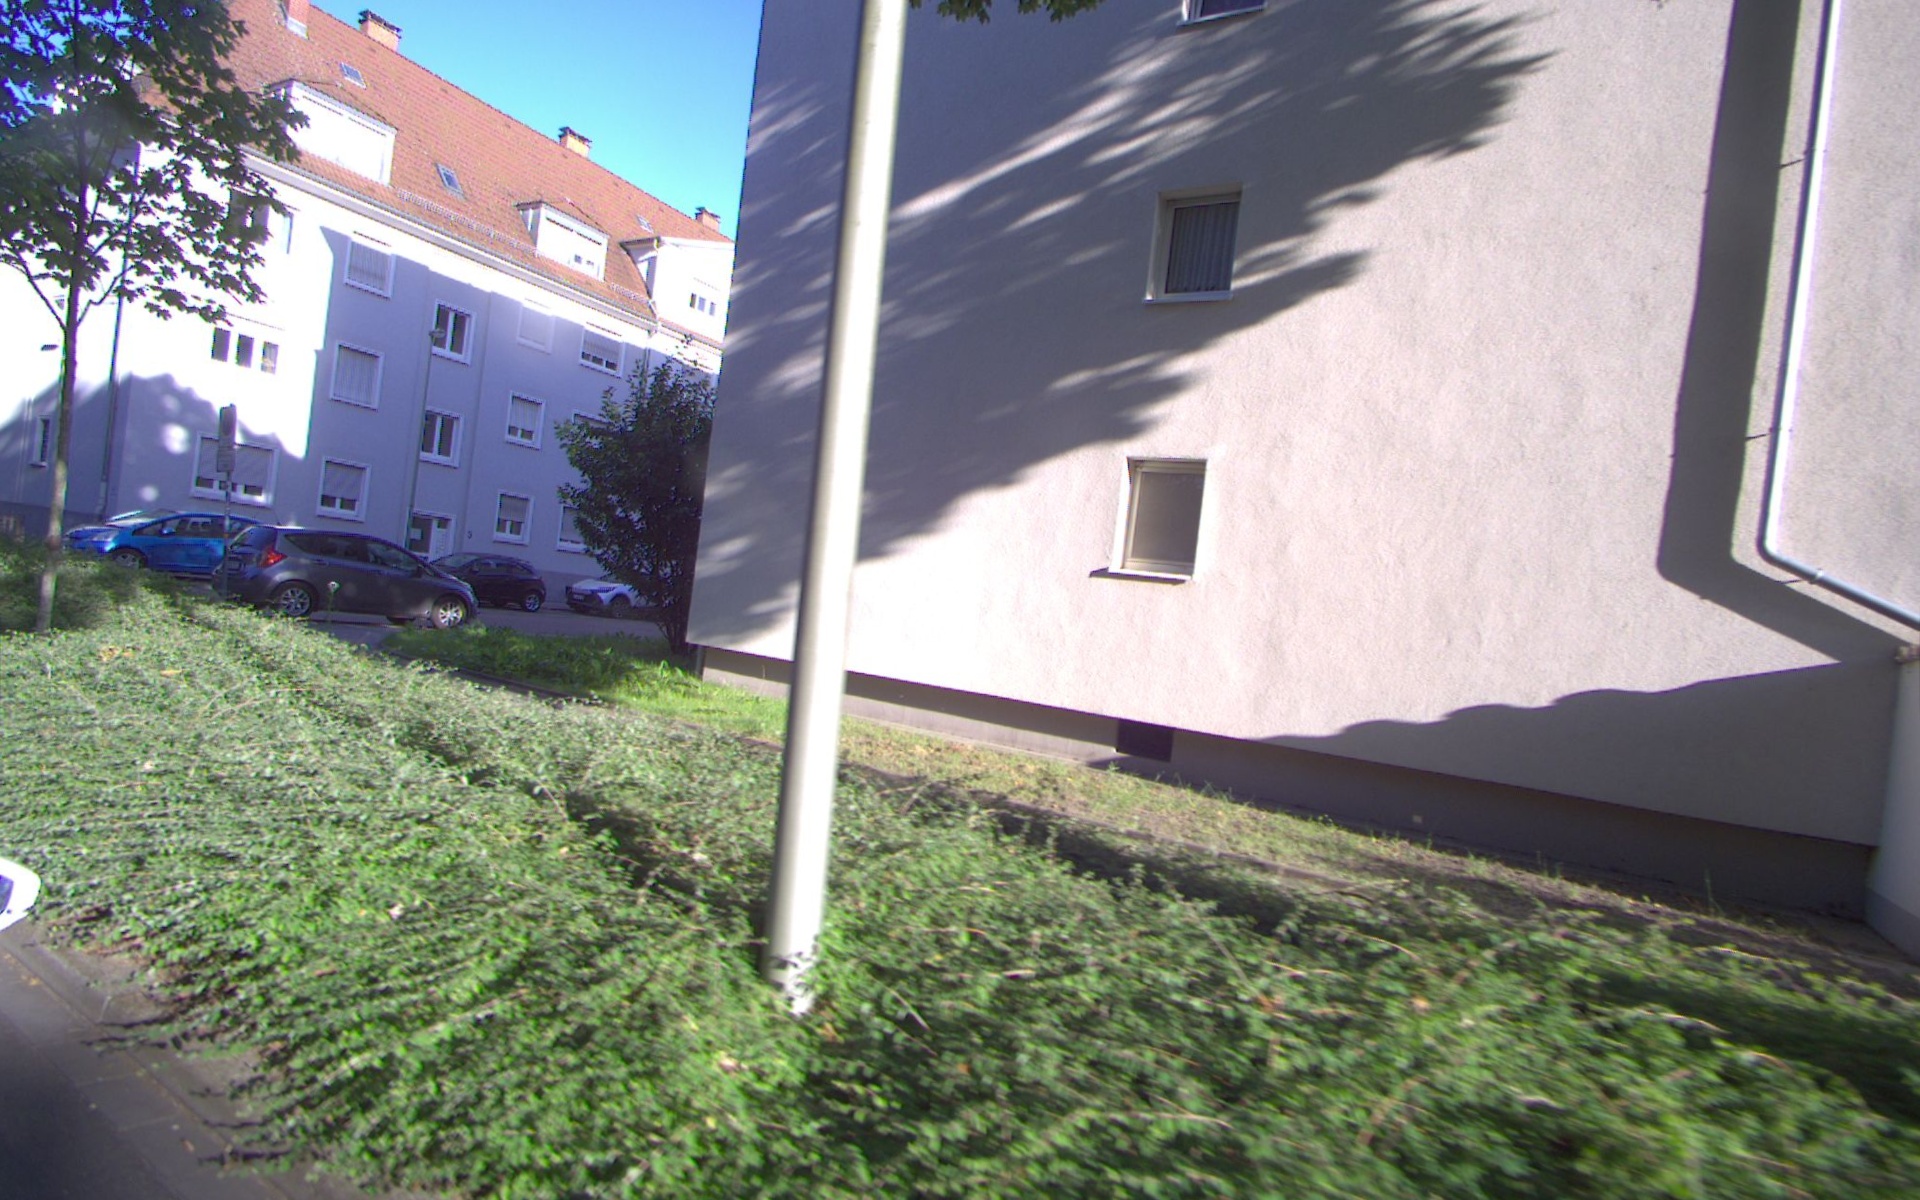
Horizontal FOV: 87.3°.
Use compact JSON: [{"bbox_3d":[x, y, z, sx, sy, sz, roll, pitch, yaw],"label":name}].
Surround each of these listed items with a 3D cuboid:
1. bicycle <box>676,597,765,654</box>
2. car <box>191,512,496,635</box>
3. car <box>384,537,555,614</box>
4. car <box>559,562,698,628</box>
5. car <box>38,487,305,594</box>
[{"bbox_3d":[-4.762,0.540,20.166,0.536,0.970,1.906,7,-1,27],"label":"bicycle"},{"bbox_3d":[-10.379,-0.373,17.276,1.697,1.531,4.051,6,-3,29],"label":"car"},{"bbox_3d":[-13.316,-0.616,27.510,1.620,1.515,3.833,7,-2,30],"label":"car"},{"bbox_3d":[-10.571,-0.116,32.364,1.705,1.515,4.024,7,-2,30],"label":"car"},{"bbox_3d":[-16.665,-1.205,21.486,1.778,1.600,3.996,8,0,28],"label":"car"}]
